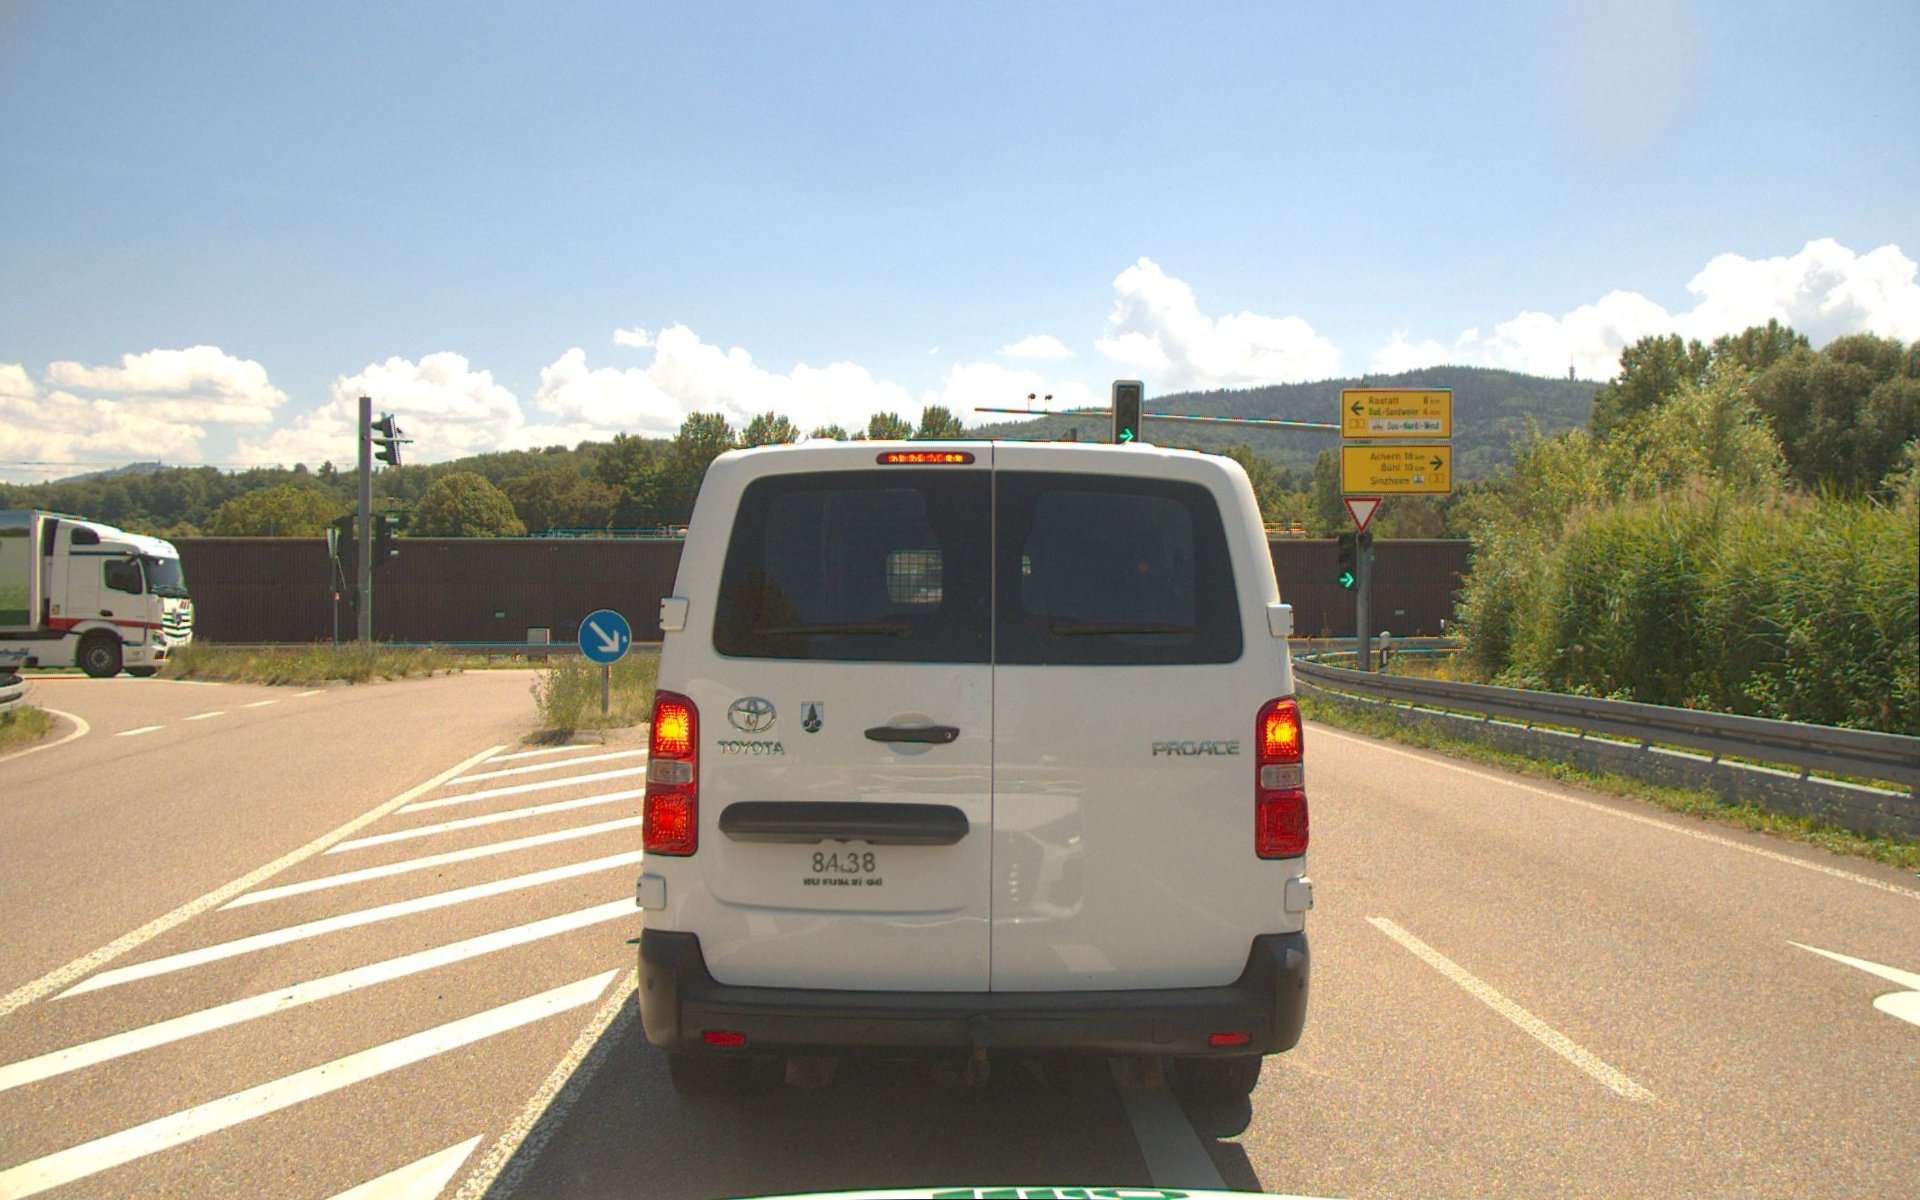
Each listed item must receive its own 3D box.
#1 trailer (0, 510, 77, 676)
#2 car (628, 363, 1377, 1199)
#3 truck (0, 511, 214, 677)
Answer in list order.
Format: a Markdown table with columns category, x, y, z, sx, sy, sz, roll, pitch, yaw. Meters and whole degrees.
| category | x | y | z | sx | sy | sz | roll | pitch | yaw |
| --- | --- | --- | --- | --- | --- | --- | --- | --- | --- |
| trailer | -29.522 | -0.180 | 41.460 | 12.877 | 4.024 | 3.060 | 0 | -1 | -3 |
| car | 0.077 | 0.477 | 5.941 | 1.778 | 2.053 | 3.999 | 0 | 0 | -1 |
| truck | -22.393 | -0.140 | 41.799 | 5.649 | 4.024 | 3.061 | 0 | -1 | -3 |
